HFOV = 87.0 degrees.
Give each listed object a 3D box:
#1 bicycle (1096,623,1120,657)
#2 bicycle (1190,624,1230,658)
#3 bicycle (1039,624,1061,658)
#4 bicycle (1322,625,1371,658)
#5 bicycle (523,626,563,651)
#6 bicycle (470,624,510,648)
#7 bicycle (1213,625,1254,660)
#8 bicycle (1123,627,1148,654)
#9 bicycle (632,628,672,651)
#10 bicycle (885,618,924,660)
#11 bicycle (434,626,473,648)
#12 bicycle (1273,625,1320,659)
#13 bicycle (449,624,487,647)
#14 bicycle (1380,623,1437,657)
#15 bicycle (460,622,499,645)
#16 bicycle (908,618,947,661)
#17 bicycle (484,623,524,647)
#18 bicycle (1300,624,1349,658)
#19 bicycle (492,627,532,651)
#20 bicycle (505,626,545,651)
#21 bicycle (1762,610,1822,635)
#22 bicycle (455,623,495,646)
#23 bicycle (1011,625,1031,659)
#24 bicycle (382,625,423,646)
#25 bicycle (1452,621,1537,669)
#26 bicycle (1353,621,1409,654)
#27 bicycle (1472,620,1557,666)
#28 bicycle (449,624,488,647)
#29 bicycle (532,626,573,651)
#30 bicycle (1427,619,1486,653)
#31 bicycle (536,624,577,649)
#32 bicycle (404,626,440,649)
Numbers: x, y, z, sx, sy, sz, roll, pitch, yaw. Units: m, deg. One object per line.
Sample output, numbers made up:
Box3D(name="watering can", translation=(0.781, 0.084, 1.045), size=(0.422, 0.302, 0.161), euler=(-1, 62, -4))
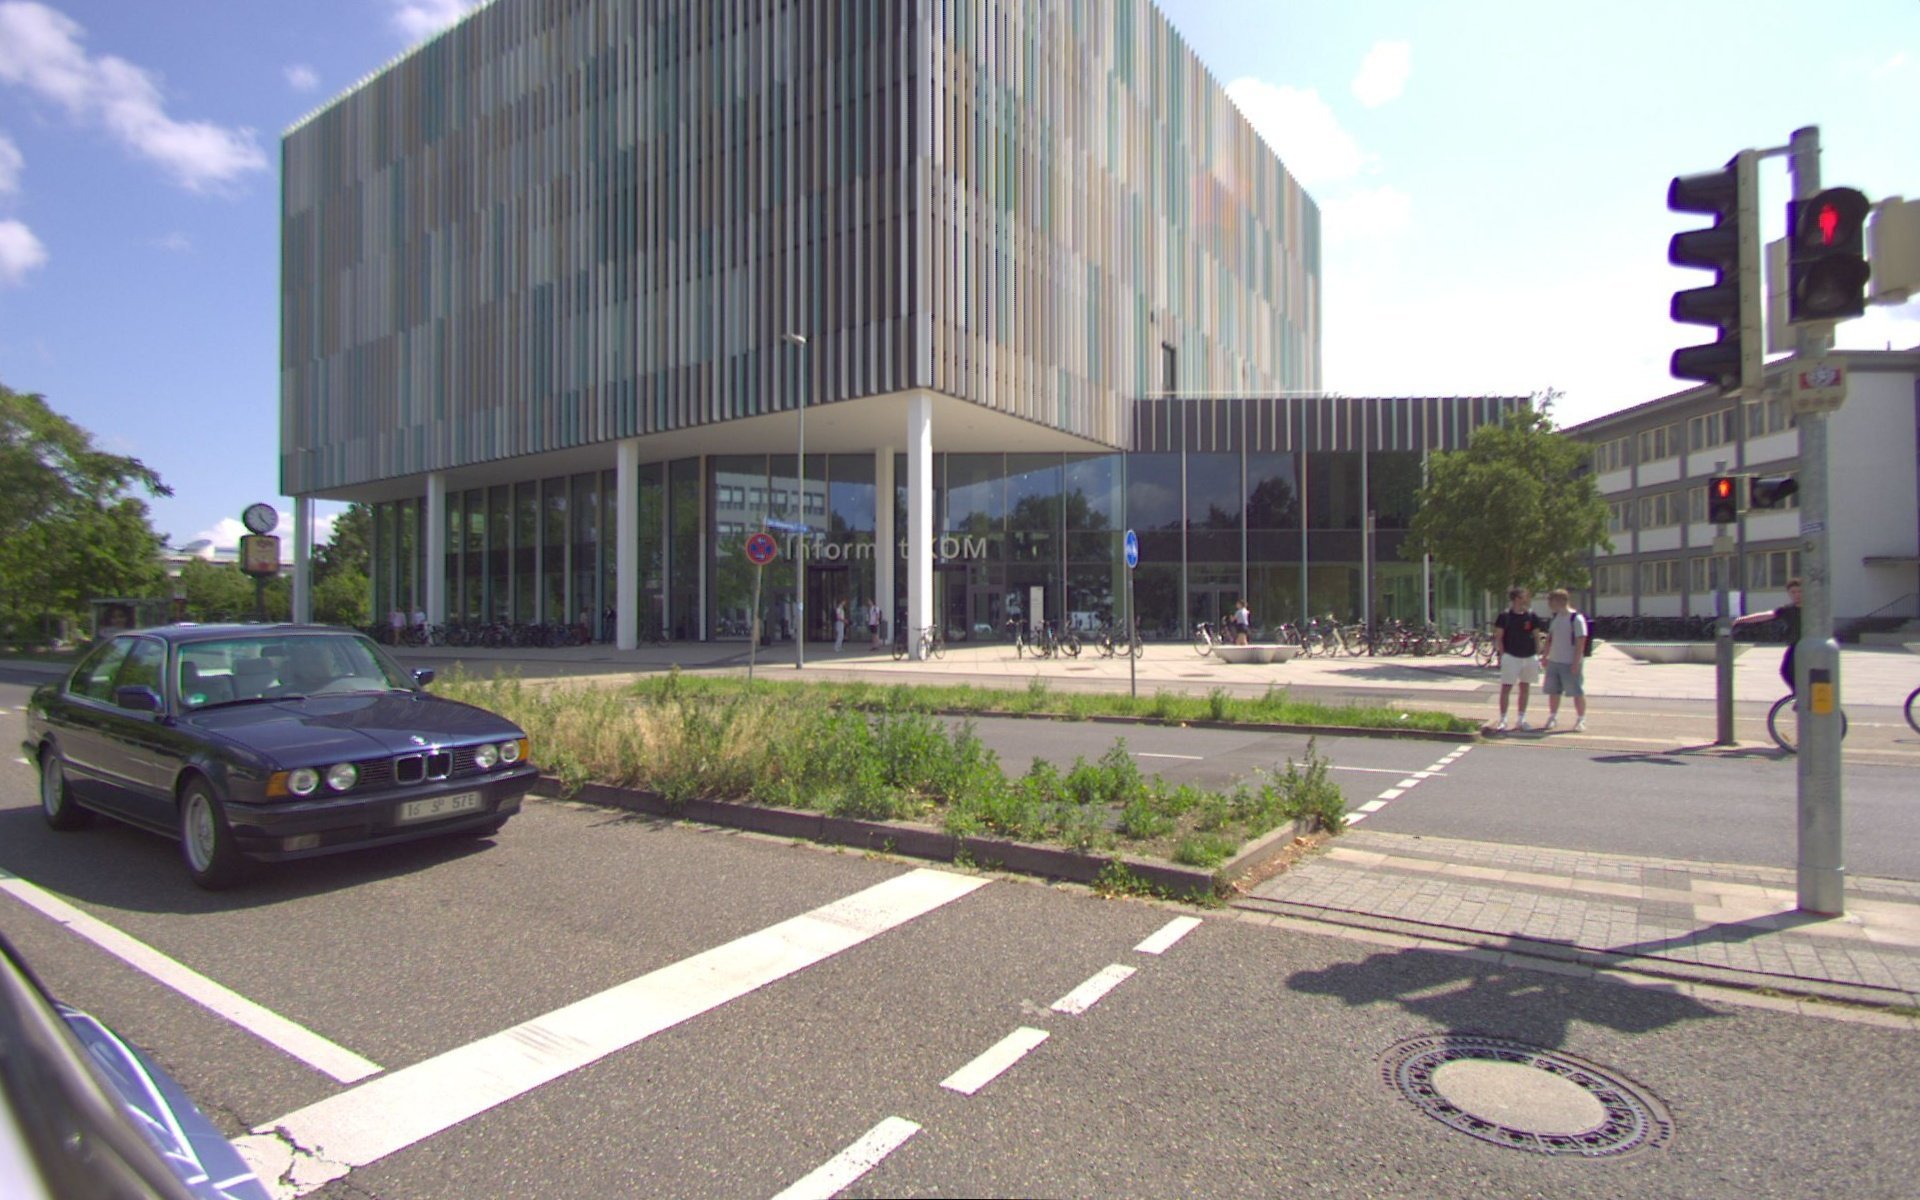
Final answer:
Box3D(name="bicycle", translation=(4.511, 1.209, 30.810), size=(0.524, 0.962, 1.765), euler=(-1, 0, 14))
Box3D(name="bicycle", translation=(7.577, 1.239, 30.749), size=(0.520, 0.962, 1.777), euler=(-1, 0, -9))
Box3D(name="bicycle", translation=(2.736, 1.244, 30.981), size=(0.368, 0.962, 1.775), euler=(-1, 0, -4))
Box3D(name="bicycle", translation=(11.761, 1.248, 30.843), size=(0.520, 0.962, 1.777), euler=(-1, 0, -11))
Box3D(name="bicycle", translation=(-17.570, 1.624, 42.675), size=(1.522, 0.962, 0.374), euler=(-2, 0, -41))
Box3D(name="bicycle", translation=(-20.603, 1.583, 44.356), size=(1.522, 0.962, 0.374), euler=(-2, 0, -41))
Box3D(name="bicycle", translation=(8.343, 1.282, 30.922), size=(0.520, 0.962, 1.777), euler=(-1, 1, -9))
Box3D(name="bicycle", translation=(5.307, 1.212, 30.678), size=(0.522, 0.770, 1.772), euler=(-1, 0, 2))
Box3D(name="bicycle", translation=(-11.967, 1.532, 39.317), size=(0.373, 0.782, 1.527), euler=(-1, 0, 38))
Box3D(name="bicycle", translation=(-1.674, 1.163, 30.787), size=(0.372, 1.196, 1.529), euler=(0, 1, 33))
Box3D(name="bicycle", translation=(-23.423, 1.714, 46.809), size=(1.522, 0.962, 0.374), euler=(-2, 0, -41))
Box3D(name="bicycle", translation=(10.283, 1.265, 30.996), size=(0.520, 0.962, 1.777), euler=(-1, 0, -11))
Box3D(name="bicycle", translation=(-22.411, 1.595, 46.111), size=(1.522, 0.962, 0.374), euler=(-2, 0, -41))
Box3D(name="bicycle", translation=(13.600, 1.197, 30.752), size=(0.520, 0.962, 1.779), euler=(-1, 0, -17))
Box3D(name="bicycle", translation=(-21.331, 1.493, 44.944), size=(1.522, 0.962, 0.374), euler=(-2, 0, -41))
Box3D(name="bicycle", translation=(-0.977, 1.166, 30.498), size=(0.372, 1.196, 1.529), euler=(0, 1, 33))
Box3D(name="bicycle", translation=(-19.716, 1.505, 43.765), size=(1.522, 0.962, 0.374), euler=(-2, 0, -41))
Box3D(name="bicycle", translation=(11.081, 1.228, 30.818), size=(0.520, 0.962, 1.777), euler=(-1, 0, -11))
Box3D(name="bicycle", translation=(-19.190, 1.654, 43.376), size=(1.522, 0.962, 0.374), euler=(-2, 0, -41))
Box3D(name="bicycle", translation=(-18.592, 1.641, 43.254), size=(1.522, 0.962, 0.374), euler=(-2, 0, -41))
Box3D(name="bicycle", translation=(32.453, 0.880, 39.493), size=(1.753, 0.962, 0.527), euler=(0, 1, 10))
Box3D(name="bicycle", translation=(-21.719, 1.548, 45.342), size=(1.522, 0.962, 0.374), euler=(-2, 0, -41))
Box3D(name="bicycle", translation=(1.834, 1.243, 30.522), size=(0.368, 0.962, 1.548), euler=(-1, 0, -4))
Box3D(name="bicycle", translation=(-27.258, 1.731, 49.508), size=(0.432, 0.962, 1.764), euler=(-1, 0, 34))
Box3D(name="bicycle", translation=(11.733, 0.968, 22.276), size=(0.520, 0.962, 1.779), euler=(-1, 0, -17))
Box3D(name="bicycle", translation=(12.819, 1.133, 30.862), size=(0.520, 0.962, 1.779), euler=(-1, 0, -17))
Box3D(name="bicycle", translation=(12.281, 0.937, 22.484), size=(0.520, 0.962, 1.779), euler=(-1, 0, -17))
Box3D(name="bicycle", translation=(-22.193, 1.613, 45.742), size=(1.522, 0.962, 0.374), euler=(-2, 0, -41))
Box3D(name="bicycle", translation=(-17.010, 1.616, 42.261), size=(1.522, 0.962, 0.374), euler=(-2, 0, -41))
Box3D(name="bicycle", translation=(14.982, 1.070, 30.591), size=(0.520, 0.962, 1.779), euler=(-1, 0, -17))
Box3D(name="bicycle", translation=(-16.648, 1.516, 41.802), size=(1.522, 0.962, 0.374), euler=(-2, 0, -41))
Box3D(name="bicycle", translation=(-24.684, 1.701, 46.427), size=(0.371, 0.962, 1.534), euler=(-1, 0, 23))
